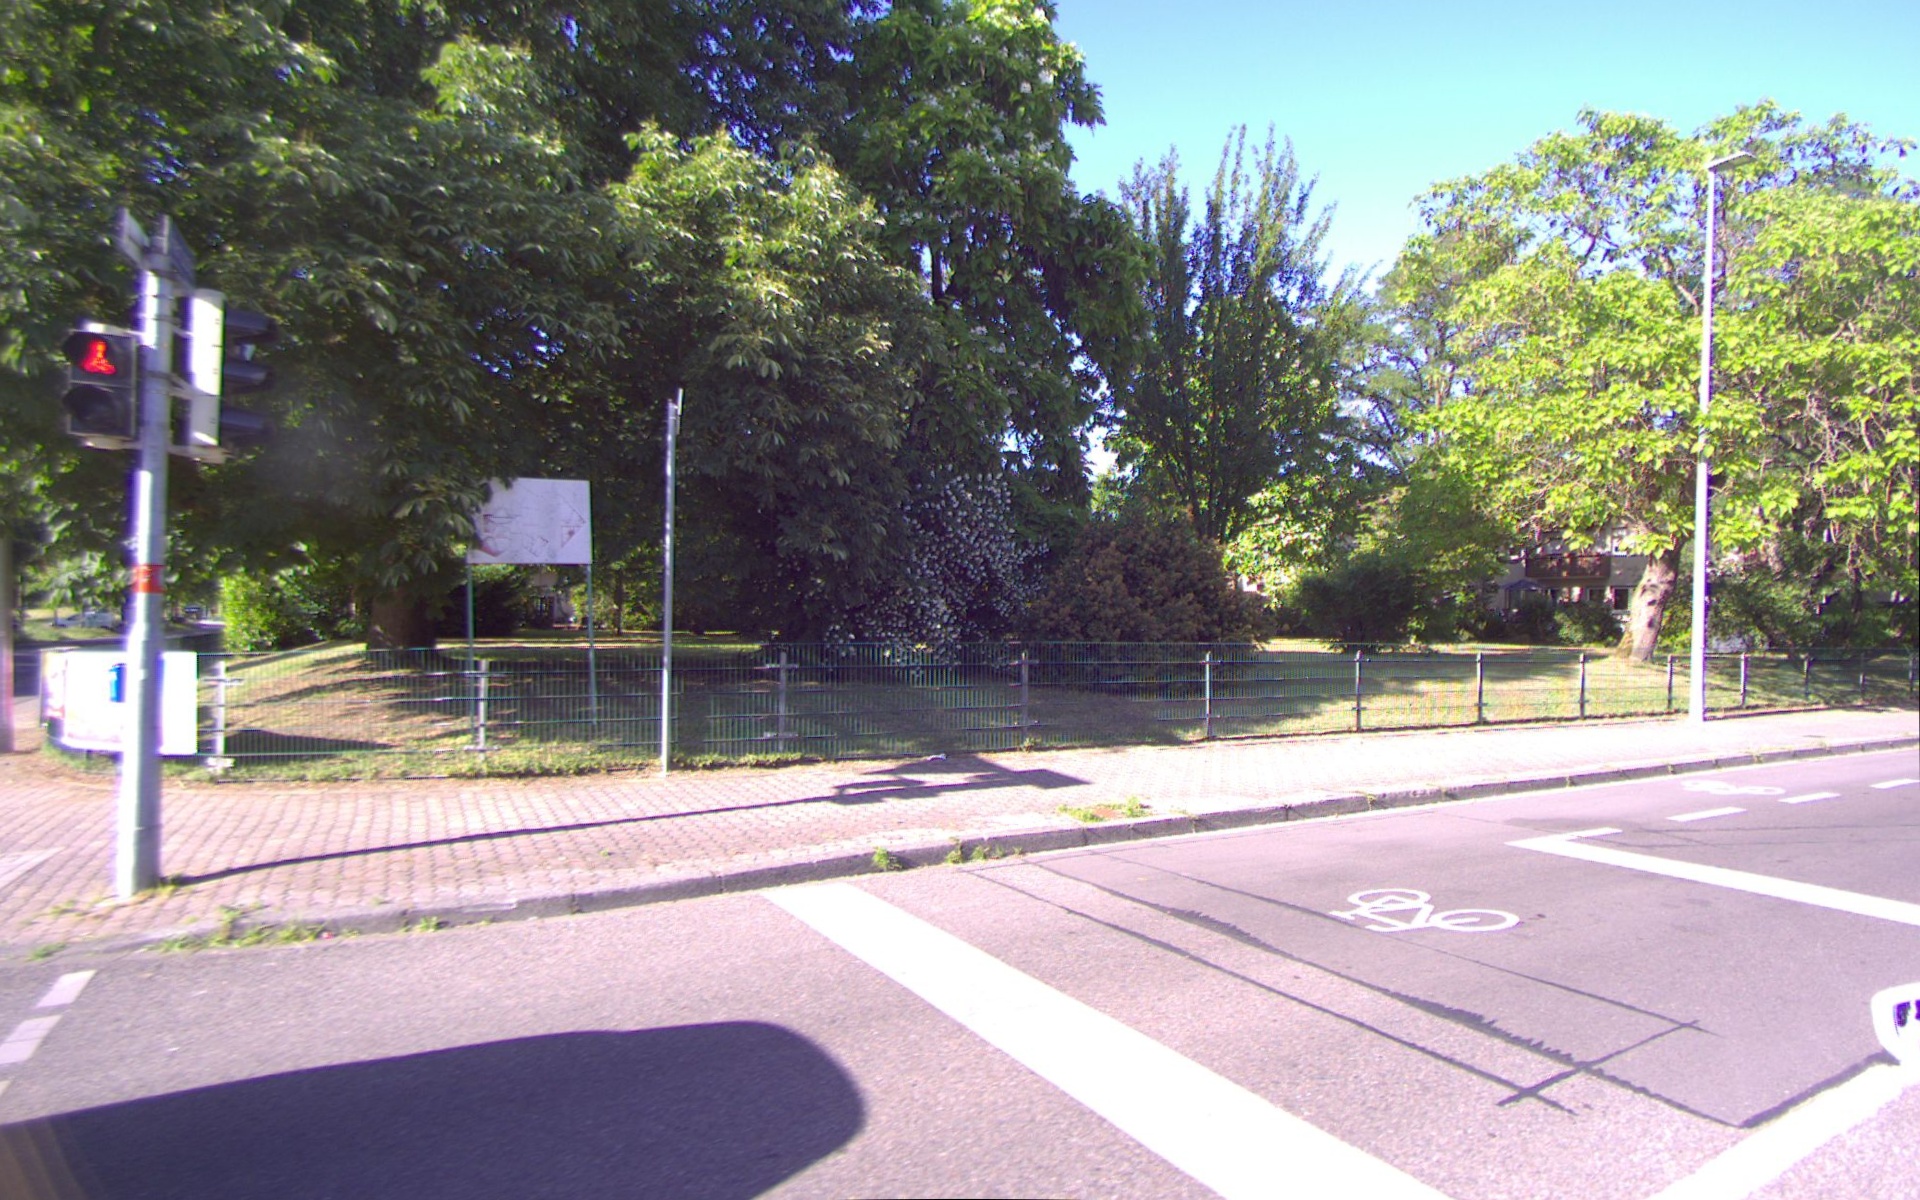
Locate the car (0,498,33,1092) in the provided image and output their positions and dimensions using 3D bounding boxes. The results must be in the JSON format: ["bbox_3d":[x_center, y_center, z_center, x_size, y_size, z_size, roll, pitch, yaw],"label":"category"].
[{"bbox_3d":[-4.169,0.468,1.044,4.339,1.639,1.807,2,-2,-29],"label":"car"}]

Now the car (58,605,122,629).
[{"bbox_3d":[-75.998,1.482,87.842,3.958,1.951,1.981,1,1,-34],"label":"car"}]
